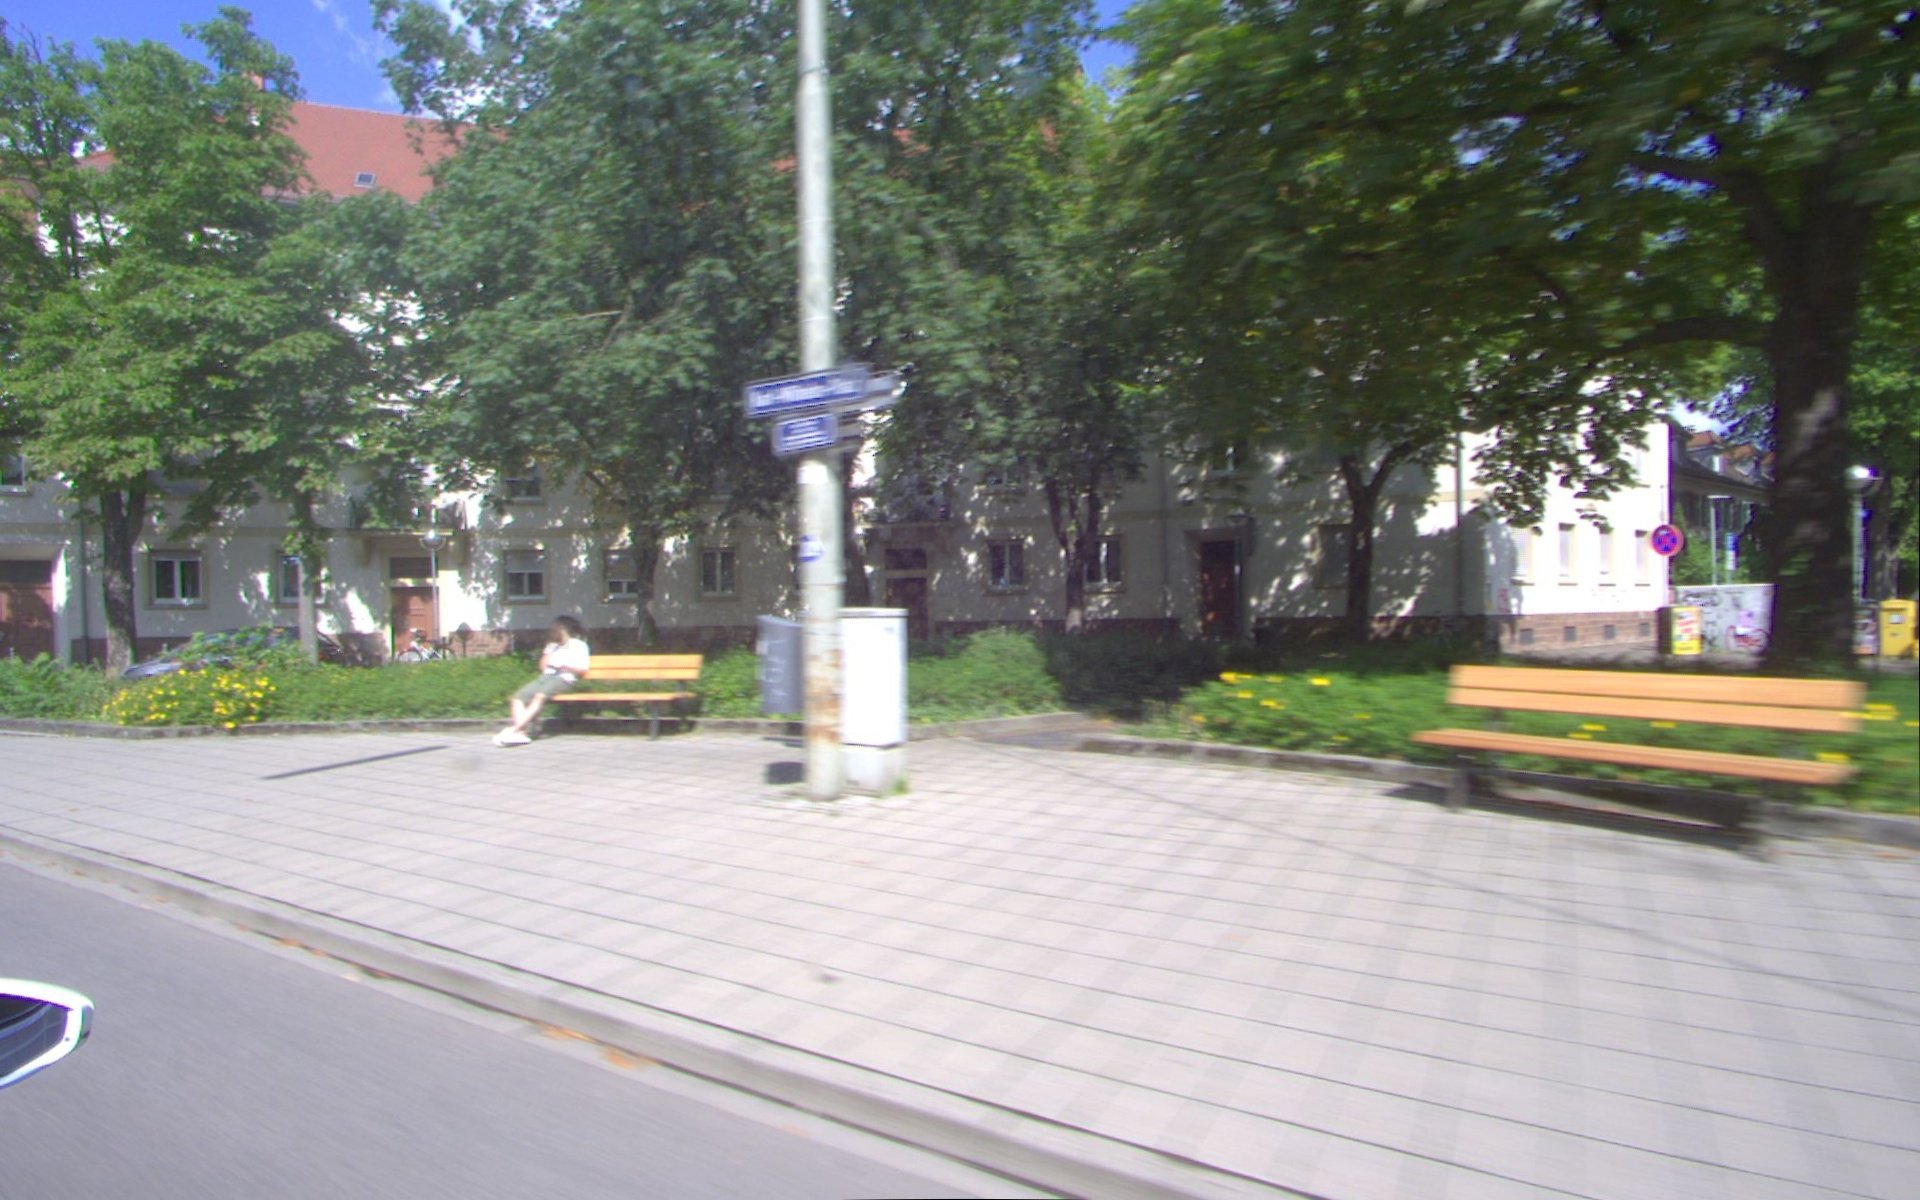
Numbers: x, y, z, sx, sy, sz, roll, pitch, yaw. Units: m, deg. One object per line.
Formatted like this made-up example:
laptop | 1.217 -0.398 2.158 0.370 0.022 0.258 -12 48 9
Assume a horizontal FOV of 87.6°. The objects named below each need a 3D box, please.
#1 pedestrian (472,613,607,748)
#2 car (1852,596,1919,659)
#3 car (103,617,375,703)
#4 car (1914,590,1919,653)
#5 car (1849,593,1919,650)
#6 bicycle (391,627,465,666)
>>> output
pedestrian | -4.380 0.805 10.500 0.549 1.286 1.191 -1 2 27
car | 23.430 0.614 23.143 1.782 1.461 3.968 0 -1 -39
car | -14.577 1.167 20.520 4.097 1.530 1.848 0 1 -16
car | 27.768 0.546 26.054 1.830 1.706 4.094 0 -1 -39
car | 24.864 0.528 25.307 1.545 1.441 3.386 0 -1 -39
bicycle | -14.773 1.291 27.838 1.719 1.034 0.566 -1 2 -5
